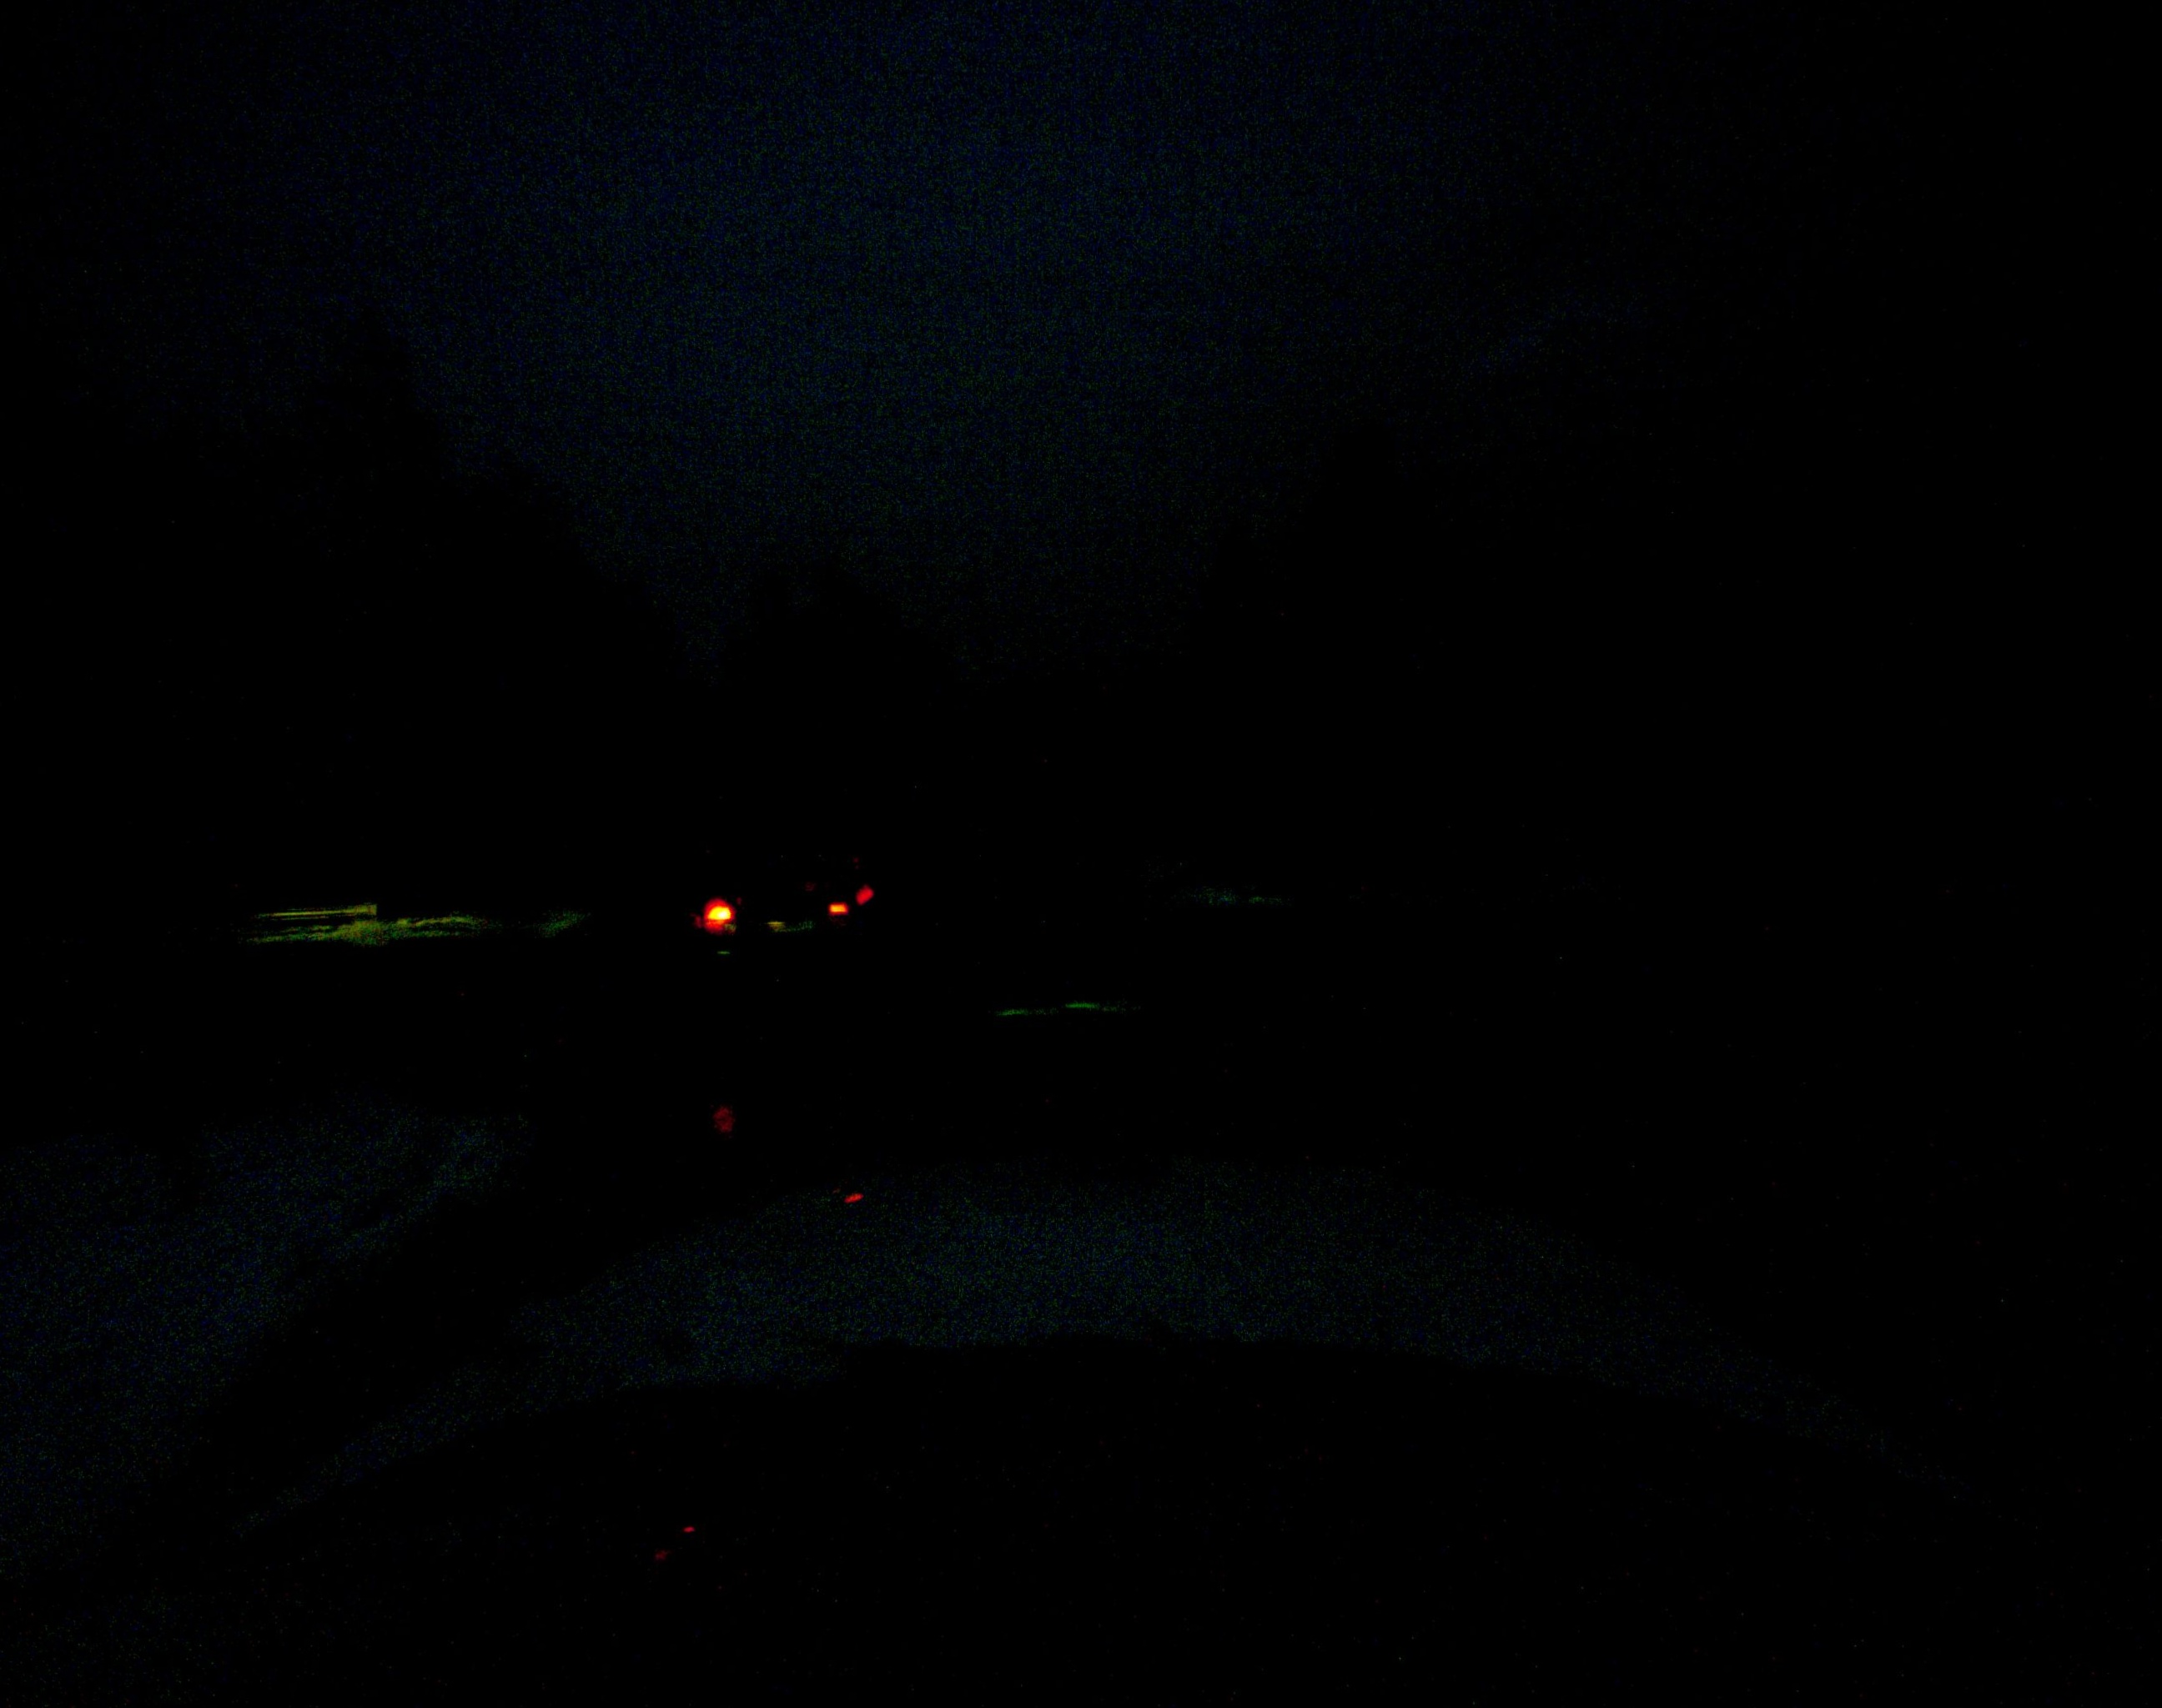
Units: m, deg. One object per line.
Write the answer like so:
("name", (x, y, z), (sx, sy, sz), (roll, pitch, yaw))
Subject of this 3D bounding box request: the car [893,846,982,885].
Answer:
("car", (-7.178, 0.596, 40.983), (3.922, 1.881, 2.006), (0, -1, 10))

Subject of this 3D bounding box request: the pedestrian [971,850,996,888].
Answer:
("pedestrian", (-4.819, 0.739, 40.214), (0.953, 1.828, 0.929), (-1, -1, 15))

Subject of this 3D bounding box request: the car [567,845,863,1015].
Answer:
("car", (-4.304, 0.703, 9.328), (3.807, 1.552, 1.708), (0, 0, 42))
